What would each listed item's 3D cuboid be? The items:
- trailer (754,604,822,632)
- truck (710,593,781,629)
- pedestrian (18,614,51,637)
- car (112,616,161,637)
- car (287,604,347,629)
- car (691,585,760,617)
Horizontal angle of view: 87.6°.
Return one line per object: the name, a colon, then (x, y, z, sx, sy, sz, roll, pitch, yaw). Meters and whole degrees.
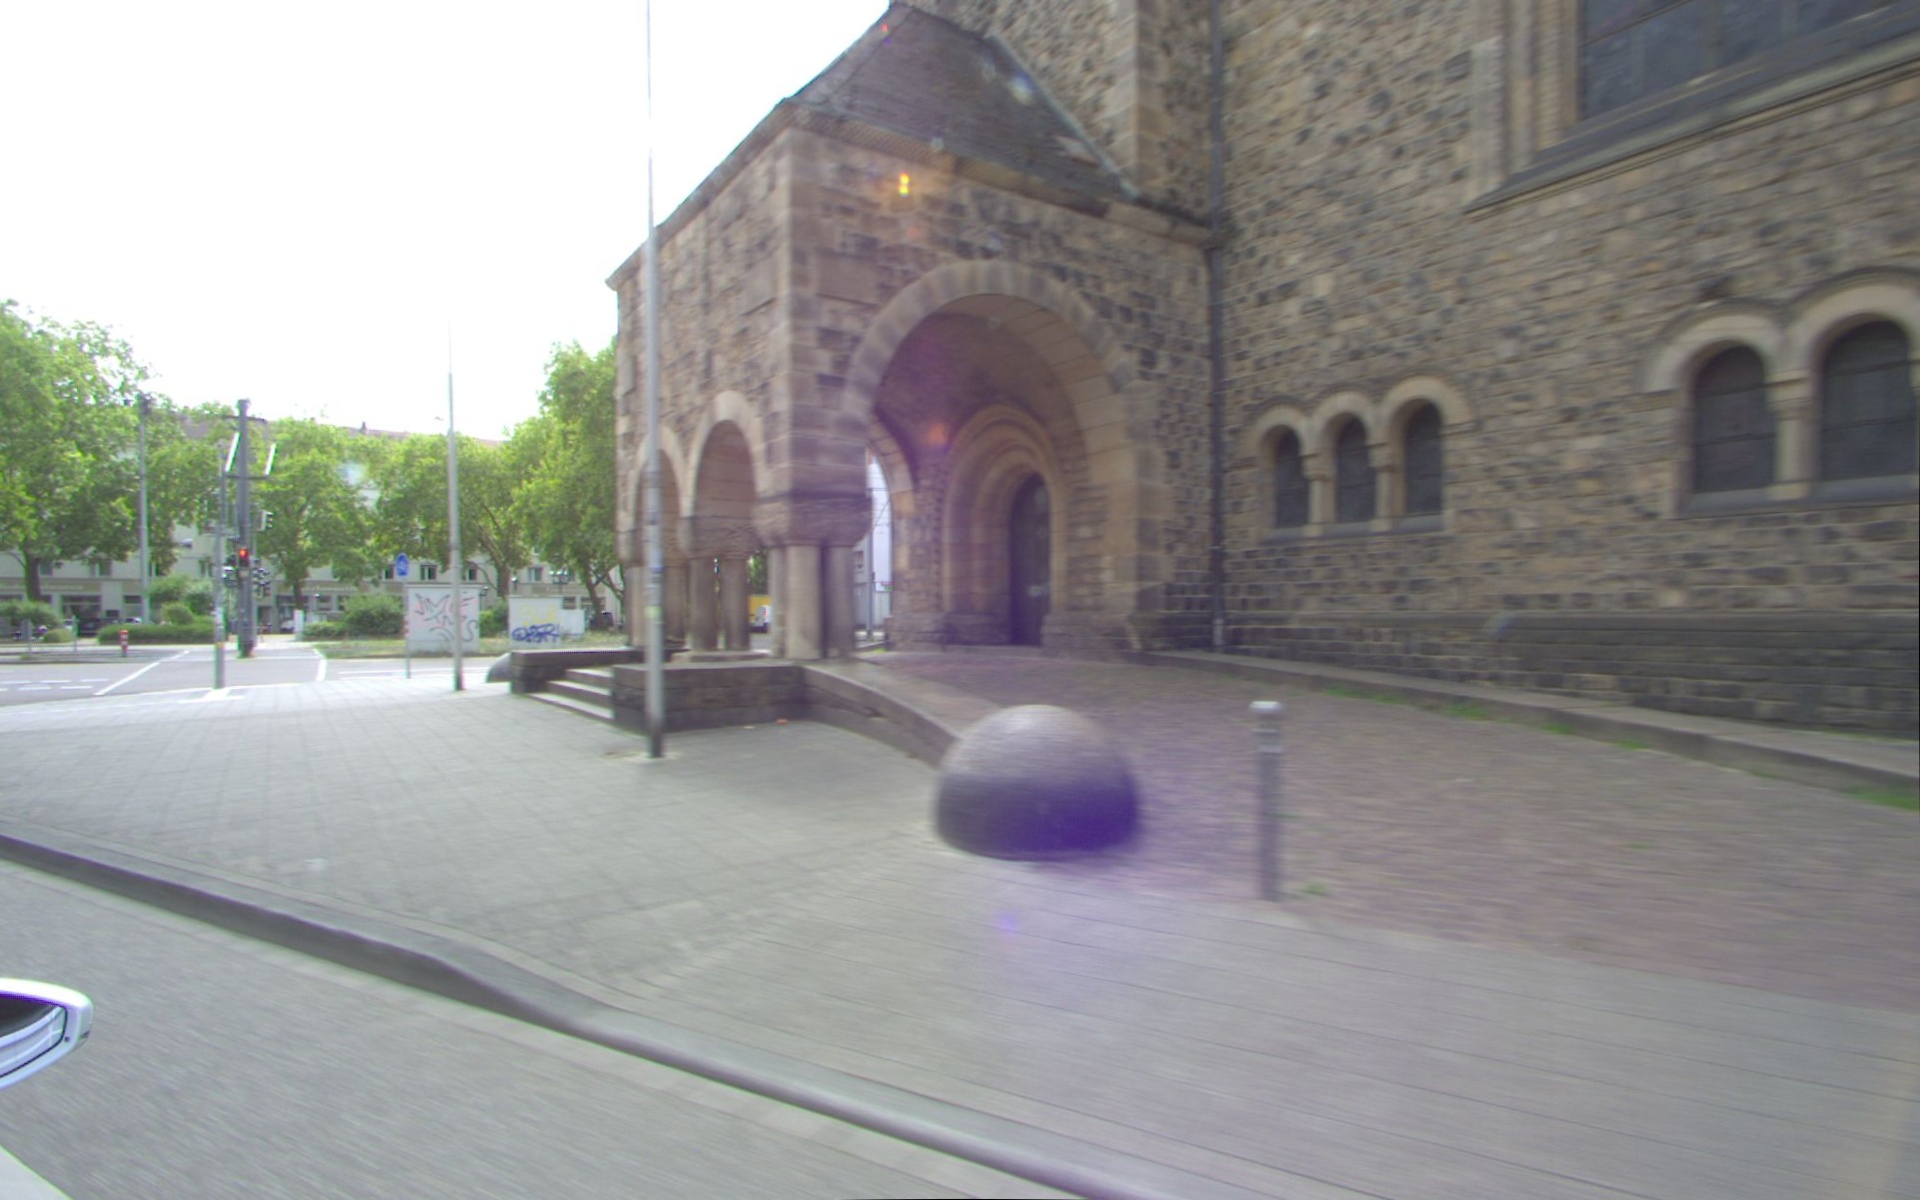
trailer: (-12.047, 1.244, 70.281, 4.379, 1.951, 1.842, 0, 0, -35)
truck: (-16.421, 0.830, 76.469, 3.041, 2.611, 6.466, 0, 0, -35)
pedestrian: (-53.828, 1.498, 58.248, 1.422, 1.252, 1.087, -1, 1, 36)
car: (-63.166, 2.012, 76.790, 3.947, 1.523, 1.987, -1, 0, 36)
car: (-50.721, 1.312, 79.034, 3.948, 1.908, 1.845, 0, 0, -35)
car: (-20.049, 0.144, 85.665, 5.271, 2.618, 2.164, 0, -2, -37)
